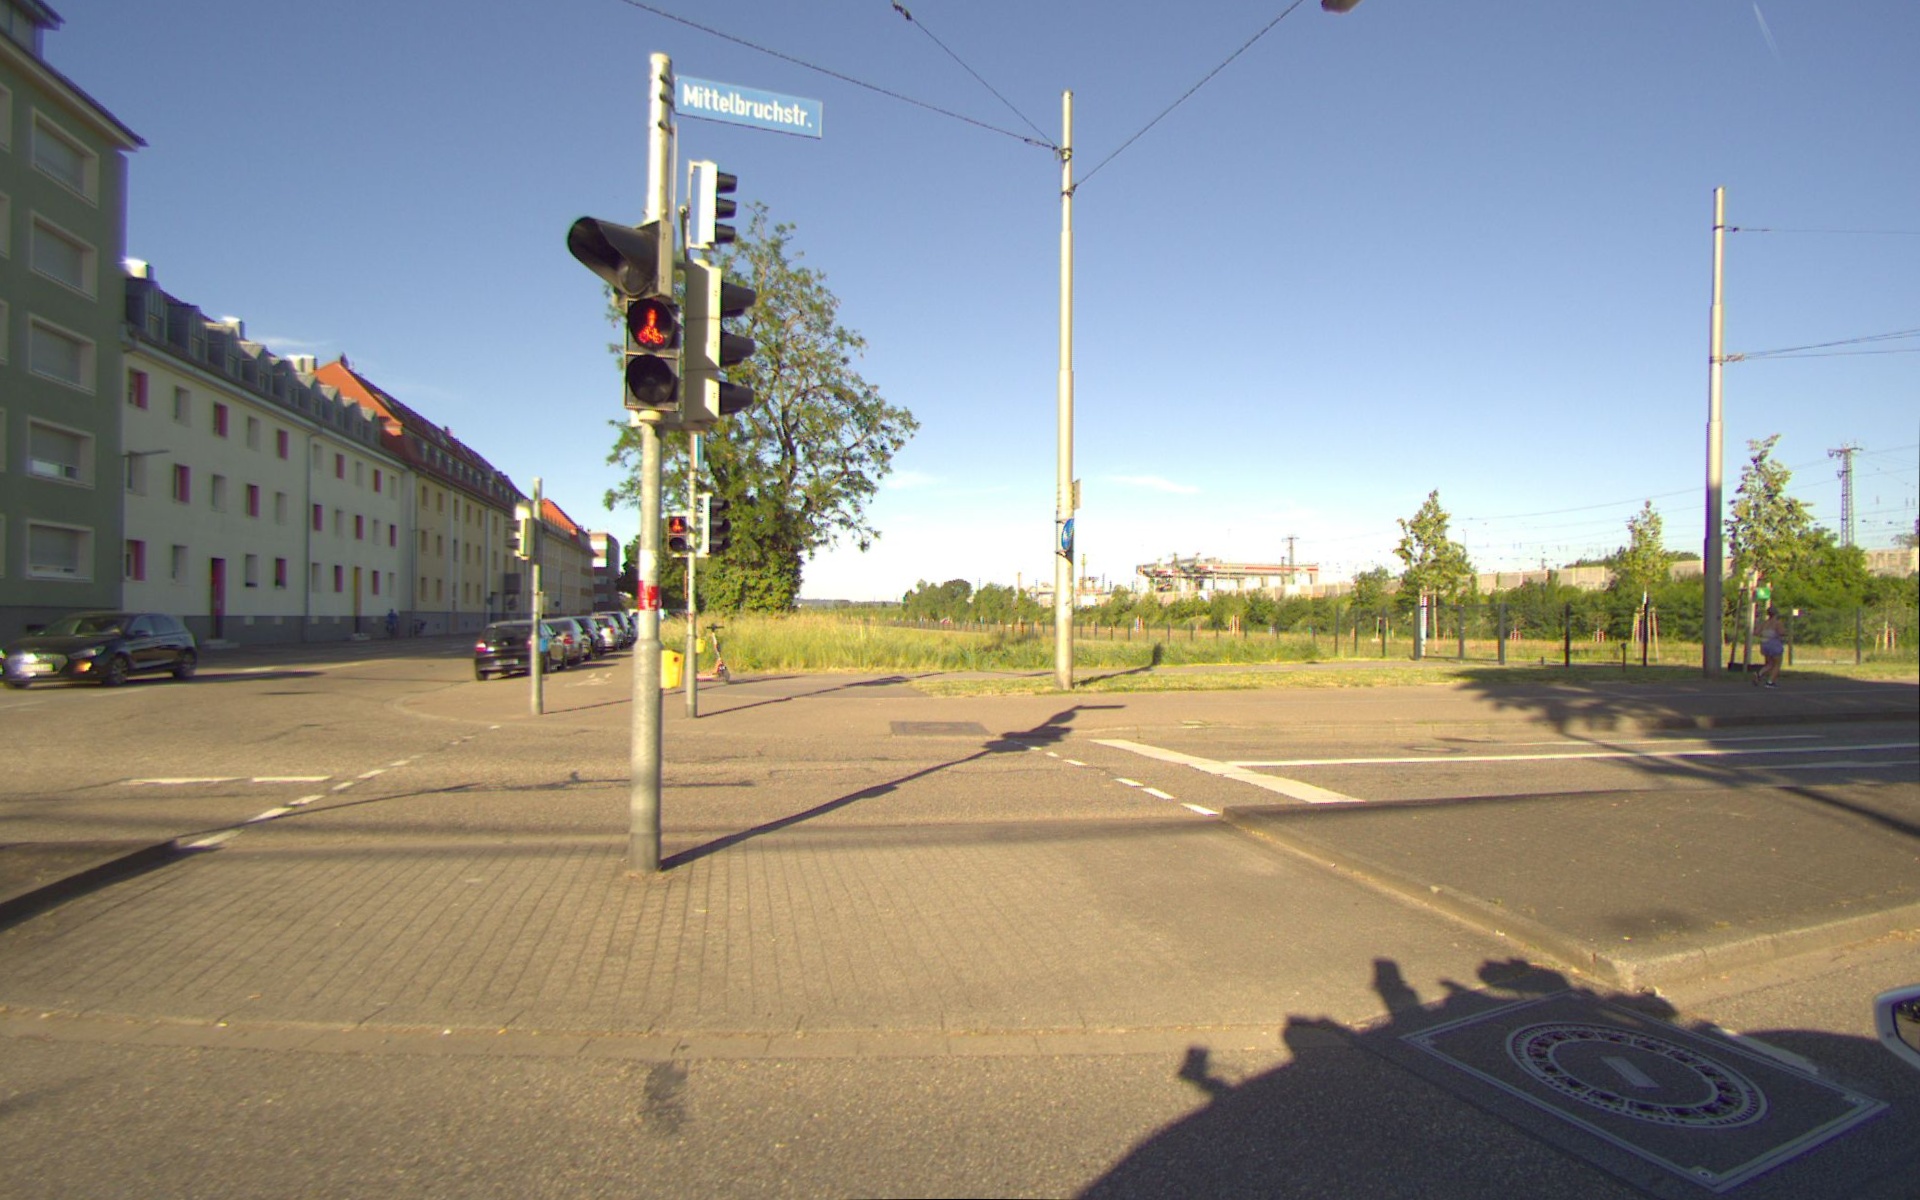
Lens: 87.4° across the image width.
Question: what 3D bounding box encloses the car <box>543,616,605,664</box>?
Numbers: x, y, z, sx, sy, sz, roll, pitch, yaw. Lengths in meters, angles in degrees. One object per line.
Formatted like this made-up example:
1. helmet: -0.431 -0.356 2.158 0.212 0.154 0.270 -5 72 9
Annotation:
1. car: -14.002 1.404 36.612 1.673 1.550 3.889 -4 0 -16

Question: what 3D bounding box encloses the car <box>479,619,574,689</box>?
1. car: -11.143 1.326 26.039 1.673 1.550 3.889 -4 0 -16

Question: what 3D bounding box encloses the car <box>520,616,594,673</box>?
1. car: -12.561 1.330 31.522 1.673 1.550 3.889 -4 0 -16

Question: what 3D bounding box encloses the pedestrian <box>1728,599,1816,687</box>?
1. pedestrian: 16.230 0.838 20.096 1.160 1.651 0.833 -2 2 -11

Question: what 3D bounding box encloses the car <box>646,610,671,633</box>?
1. car: -22.862 1.613 76.279 1.673 1.550 3.889 -4 0 -16

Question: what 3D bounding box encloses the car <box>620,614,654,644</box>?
1. car: -18.914 1.660 58.966 1.673 1.550 3.889 -4 0 -16

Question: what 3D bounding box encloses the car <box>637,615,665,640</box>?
1. car: -21.296 1.901 69.230 1.673 1.550 3.889 -4 0 -16

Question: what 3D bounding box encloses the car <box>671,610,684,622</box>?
1. car: -41.211 2.345 146.683 1.673 1.550 3.889 -4 0 -16

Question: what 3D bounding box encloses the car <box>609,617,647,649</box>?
1. car: -17.897 1.745 54.279 1.673 1.550 3.889 -4 0 -16

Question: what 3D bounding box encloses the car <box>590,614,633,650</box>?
1. car: -16.702 1.510 48.260 1.673 1.550 3.889 -4 0 -16

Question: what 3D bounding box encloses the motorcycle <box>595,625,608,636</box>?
1. motorcycle: -29.256 2.469 81.962 0.658 0.886 1.995 -2 0 -12

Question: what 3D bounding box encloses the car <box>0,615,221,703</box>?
1. car: -17.068 1.090 20.226 1.908 1.513 4.198 -2 0 -12

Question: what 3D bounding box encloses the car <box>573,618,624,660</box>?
1. car: -15.209 1.612 42.418 1.673 1.550 3.889 -4 0 -16

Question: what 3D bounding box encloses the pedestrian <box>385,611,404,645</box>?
1. pedestrian: -32.864 1.642 58.410 0.729 1.898 0.743 4 1 -16

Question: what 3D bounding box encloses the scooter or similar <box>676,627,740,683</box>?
1. scooter or similar: -5.447 1.169 21.676 1.243 1.160 0.594 -1 -1 27
